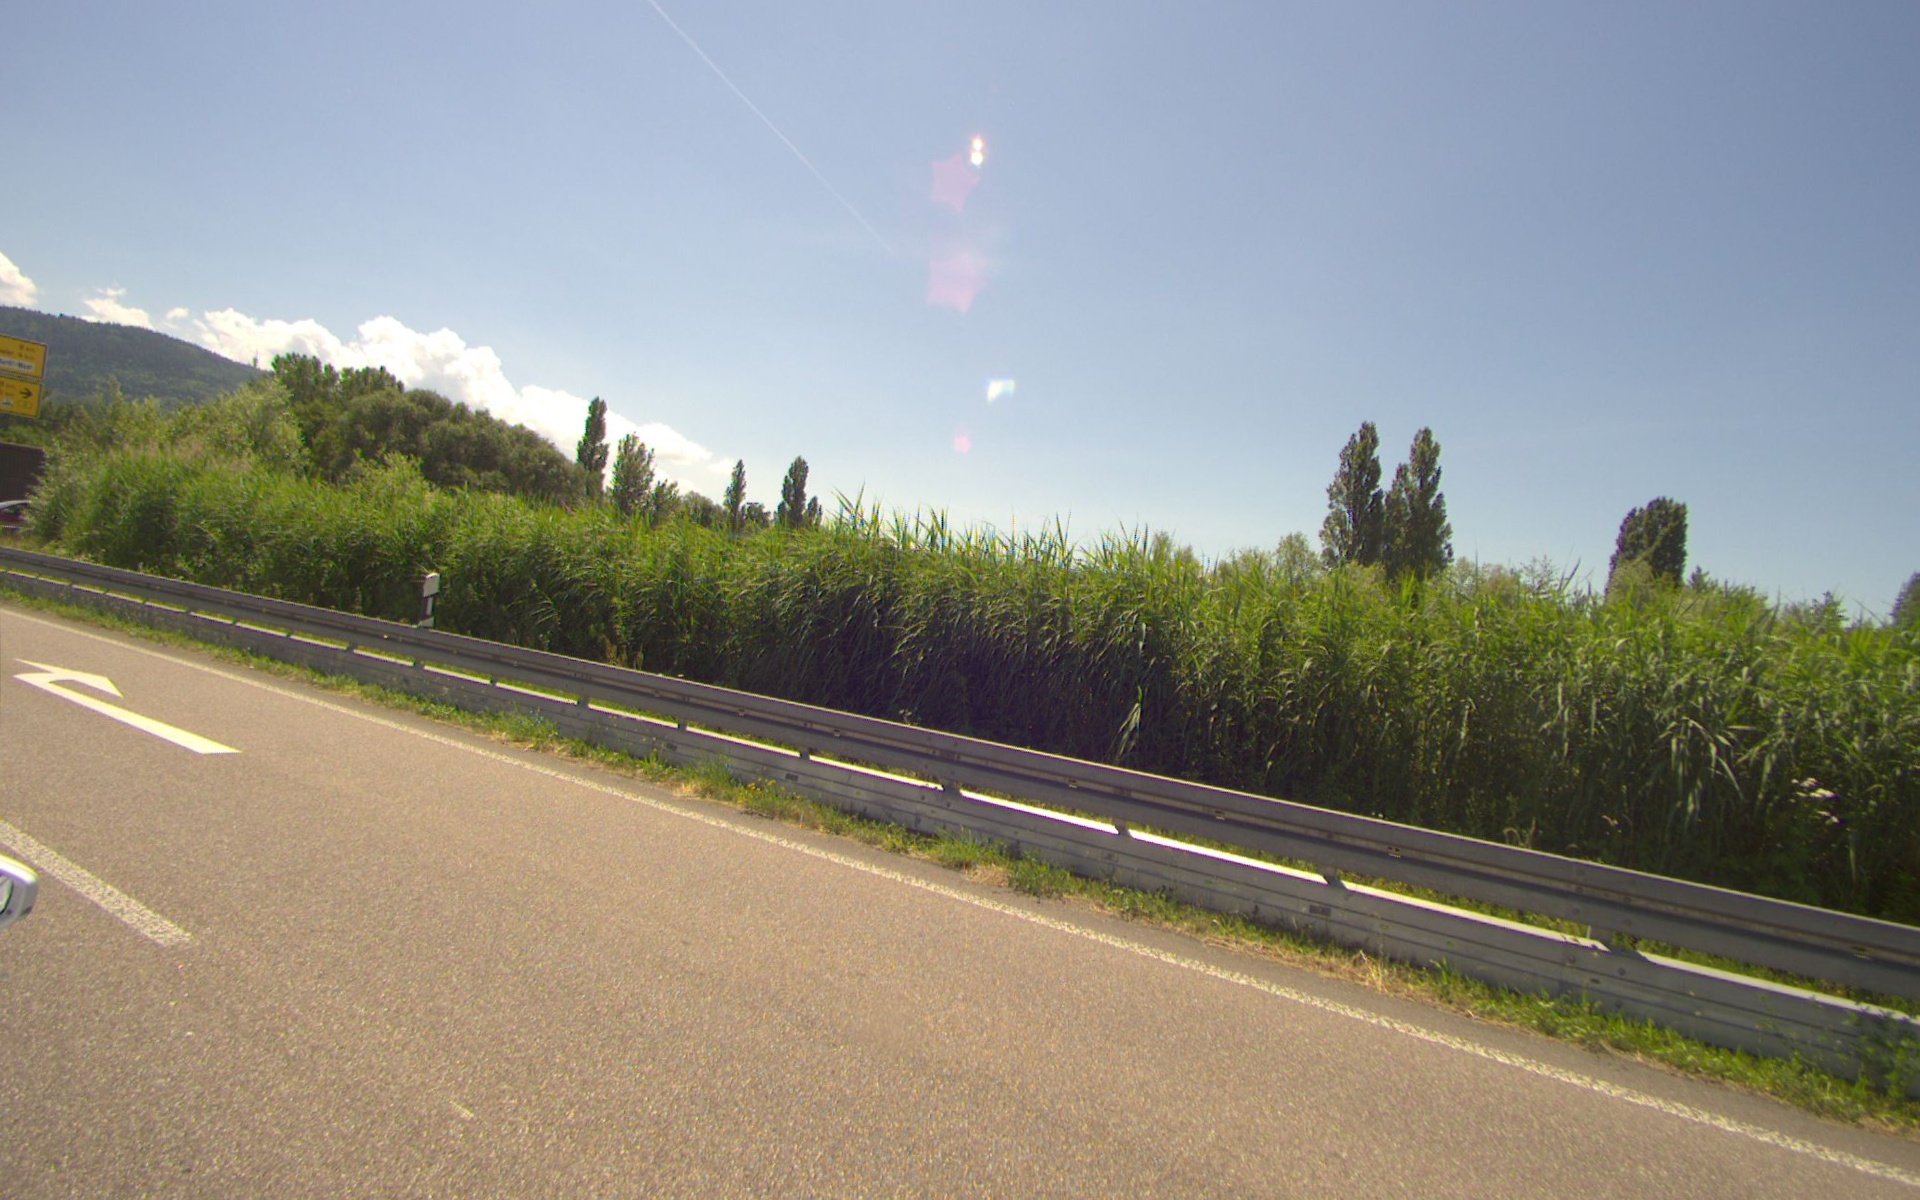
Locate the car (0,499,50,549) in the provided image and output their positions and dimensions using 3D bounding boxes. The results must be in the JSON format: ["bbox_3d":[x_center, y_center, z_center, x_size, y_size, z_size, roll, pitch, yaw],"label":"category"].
[{"bbox_3d":[-37.311,-3.105,37.655,1.966,1.676,4.320,7,-2,29],"label":"car"}]
